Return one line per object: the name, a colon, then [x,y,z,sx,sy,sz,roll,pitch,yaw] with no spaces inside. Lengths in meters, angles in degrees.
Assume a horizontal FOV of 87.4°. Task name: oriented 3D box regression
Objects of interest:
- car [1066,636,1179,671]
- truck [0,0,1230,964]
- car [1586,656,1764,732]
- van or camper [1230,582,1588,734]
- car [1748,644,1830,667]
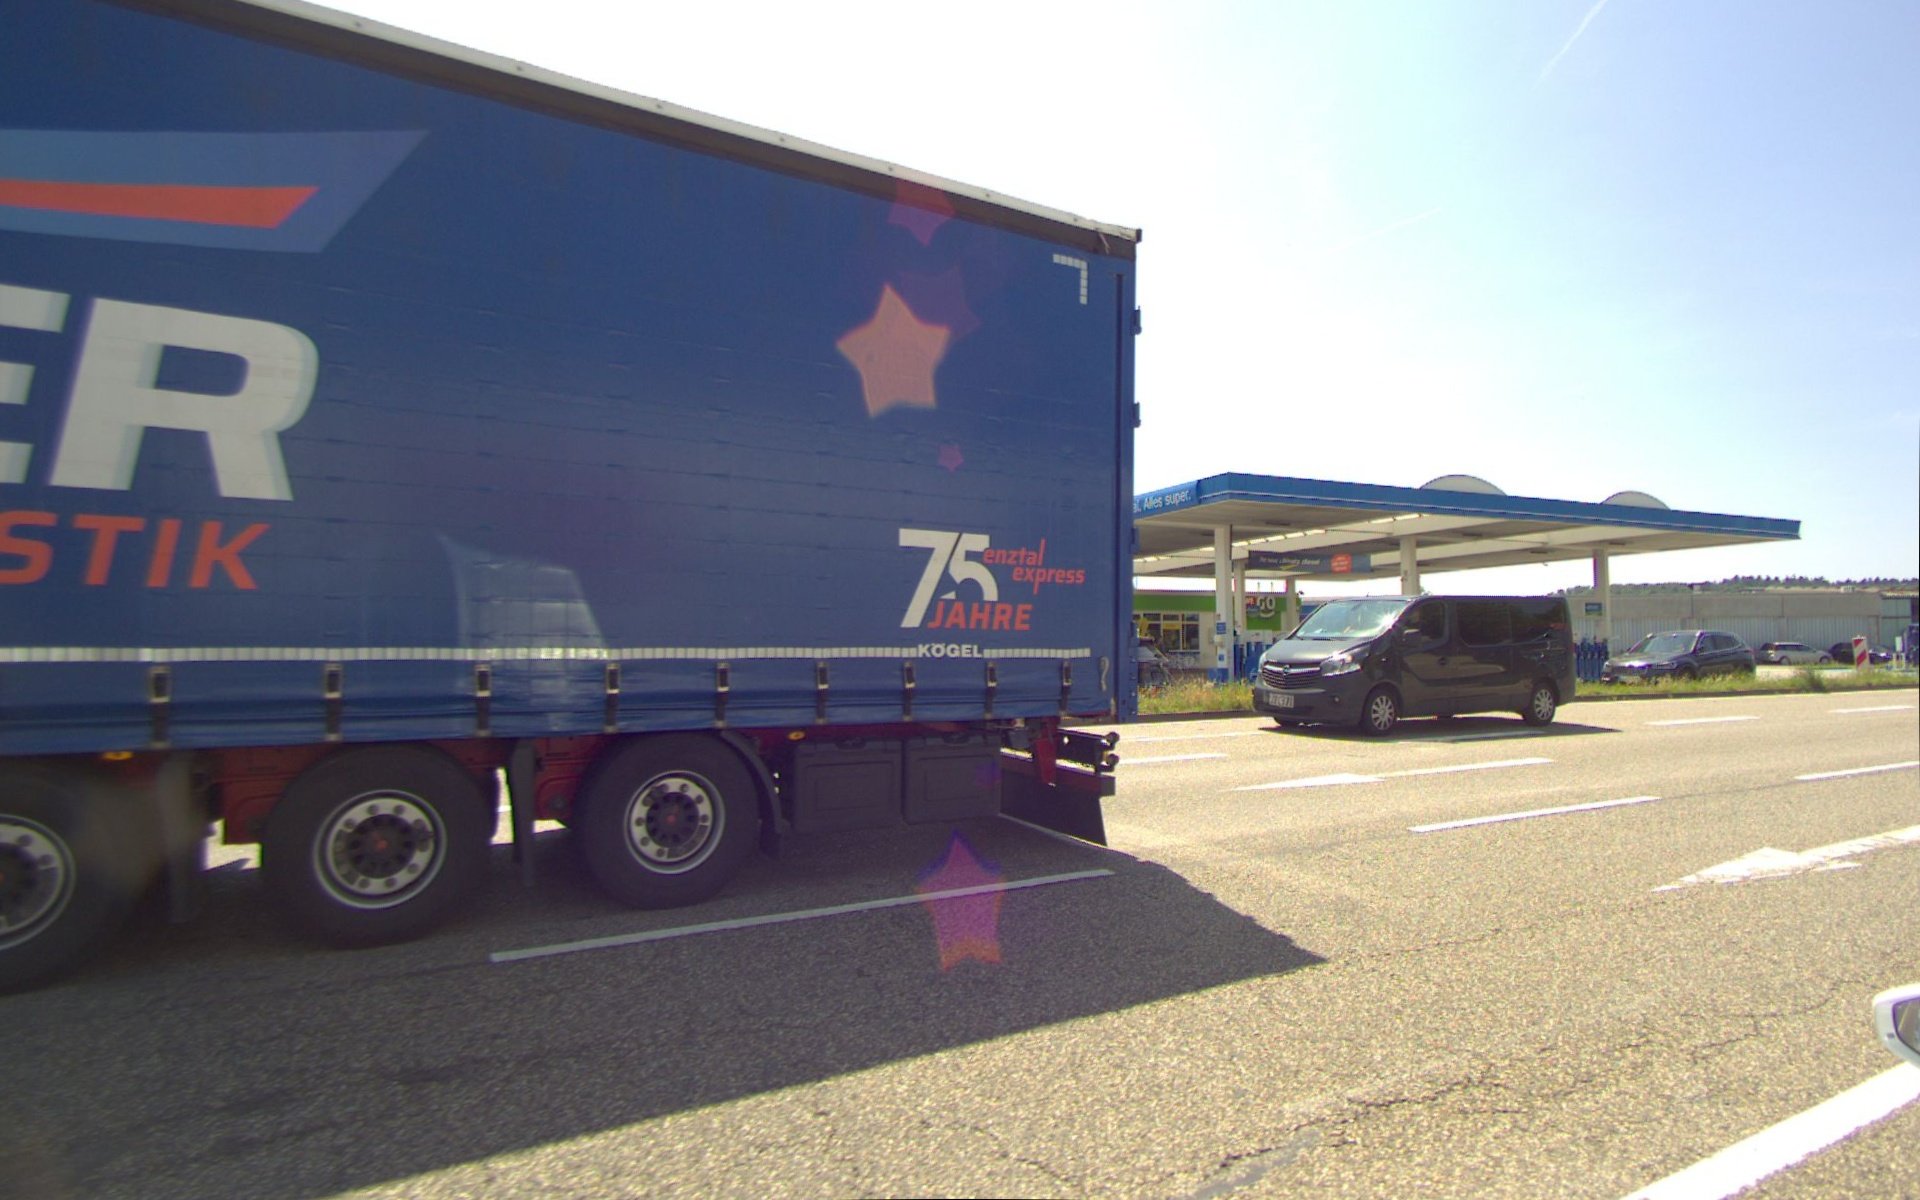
car: [6.803,2.234,42.093,4.321,1.396,1.989,1,-2,-23]
truck: [-6.149,-0.702,3.833,16.806,3.940,2.831,3,-2,-30]
car: [18.312,2.327,25.710,4.509,1.741,1.822,1,-2,-27]
van or camper: [6.761,0.829,15.004,5.313,1.961,1.987,1,-2,-27]
car: [54.207,3.613,65.724,3.821,1.461,1.761,0,-2,6]
